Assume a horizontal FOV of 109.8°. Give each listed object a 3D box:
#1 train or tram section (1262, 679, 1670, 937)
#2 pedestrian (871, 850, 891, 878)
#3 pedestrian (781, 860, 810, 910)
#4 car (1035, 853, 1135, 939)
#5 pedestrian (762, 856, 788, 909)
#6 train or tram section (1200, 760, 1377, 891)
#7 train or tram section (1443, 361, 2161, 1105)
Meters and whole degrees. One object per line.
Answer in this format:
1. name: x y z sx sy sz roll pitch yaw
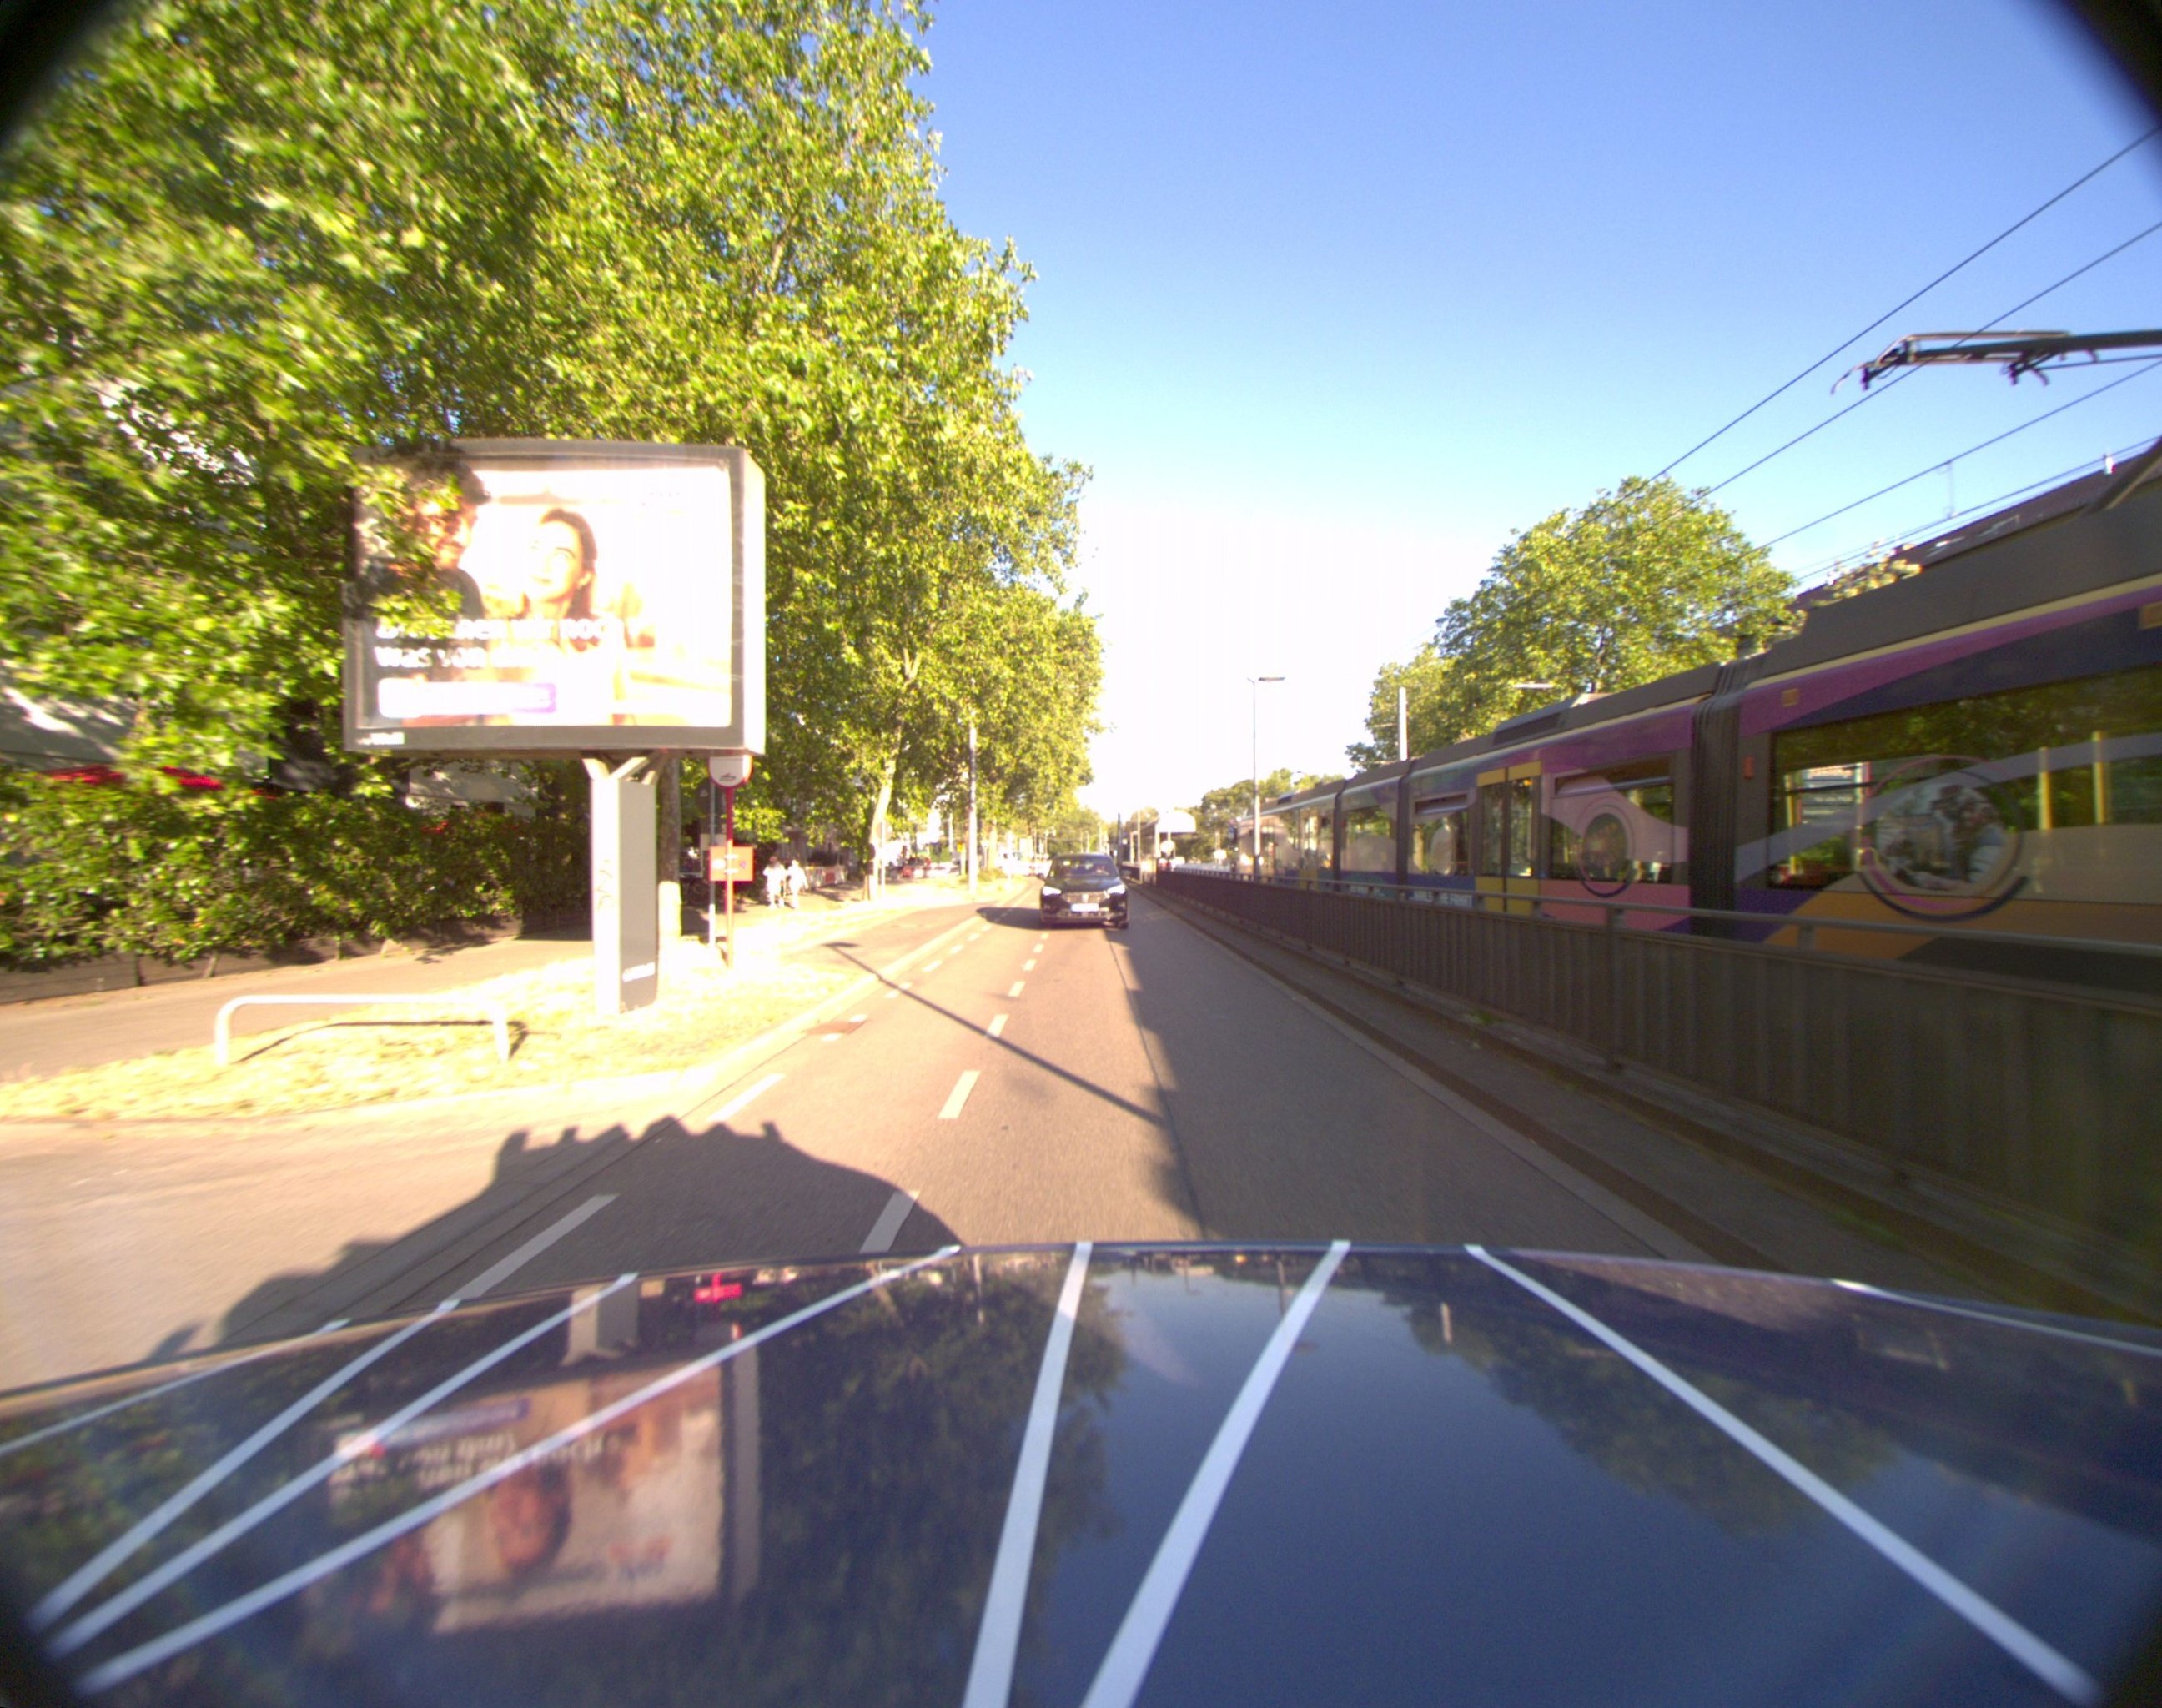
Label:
1. train or tram section: 6.487 -0.679 15.482 3.043 3.497 10.094 1 1 -1
2. pedestrian: -13.122 0.650 49.861 1.062 1.853 0.951 0 1 1
3. pedestrian: -9.043 0.970 24.076 0.626 1.533 0.765 0 1 -3
4. car: 0.031 0.834 17.058 1.911 1.606 4.085 -3 0 -2
5. pedestrian: -9.786 0.898 24.279 0.555 1.658 0.694 0 1 -3
6. train or tram section: 6.394 -0.808 25.583 3.043 3.497 10.094 1 1 -1
7. train or tram section: 6.574 -0.574 5.394 3.043 3.497 10.094 1 1 -1
